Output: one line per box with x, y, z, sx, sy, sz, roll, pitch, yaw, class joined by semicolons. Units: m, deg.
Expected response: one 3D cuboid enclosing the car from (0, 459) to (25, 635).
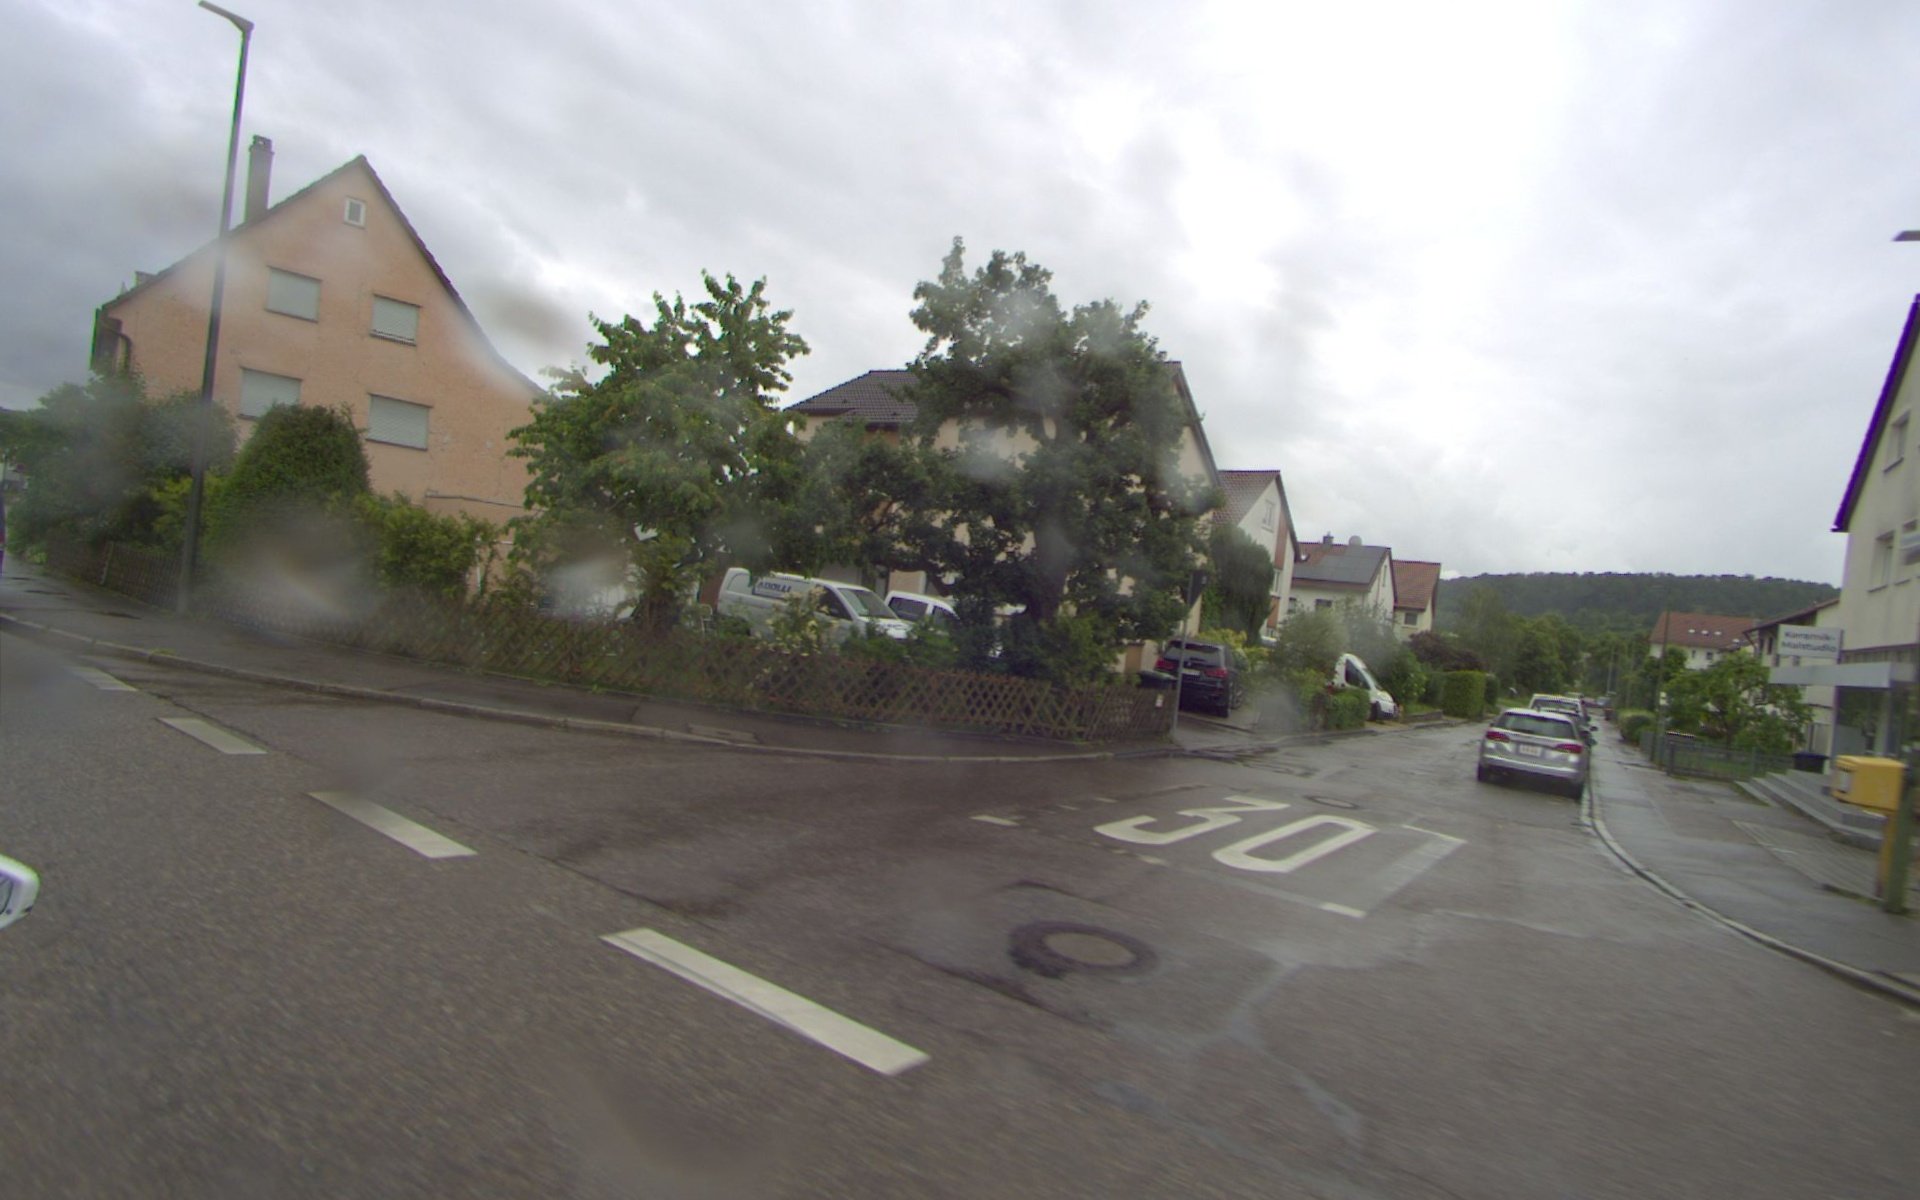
-12.922;-0.861;11.918;4.724;1.924;1.930;6;-2;39;car

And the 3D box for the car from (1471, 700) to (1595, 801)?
11.176;2.816;19.566;1.790;1.473;3.992;6;-1;31;car

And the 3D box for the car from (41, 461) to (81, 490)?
-57.287;-7.908;64.137;1.630;1.447;3.638;6;-1;-39;car

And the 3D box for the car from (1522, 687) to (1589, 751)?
21.808;4.285;36.829;1.814;1.929;4.613;6;-1;31;car

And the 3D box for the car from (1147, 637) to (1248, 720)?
6.089;1.903;25.478;1.858;1.692;3.998;7;1;20;car

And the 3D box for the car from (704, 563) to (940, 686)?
-3.222;0.529;23.057;5.099;2.108;1.949;7;-1;32;car

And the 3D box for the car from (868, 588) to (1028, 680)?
-0.331;0.853;25.657;3.582;1.840;1.658;6;-1;34;car

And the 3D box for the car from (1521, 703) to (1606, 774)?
16.978;3.824;28.335;1.790;1.574;3.992;6;-1;31;car

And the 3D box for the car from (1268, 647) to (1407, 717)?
15.031;3.257;40.098;4.754;2.077;1.949;6;-1;30;car

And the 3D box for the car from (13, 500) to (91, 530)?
-48.008;-4.483;53.308;1.738;1.413;3.978;0;3;-22;car
